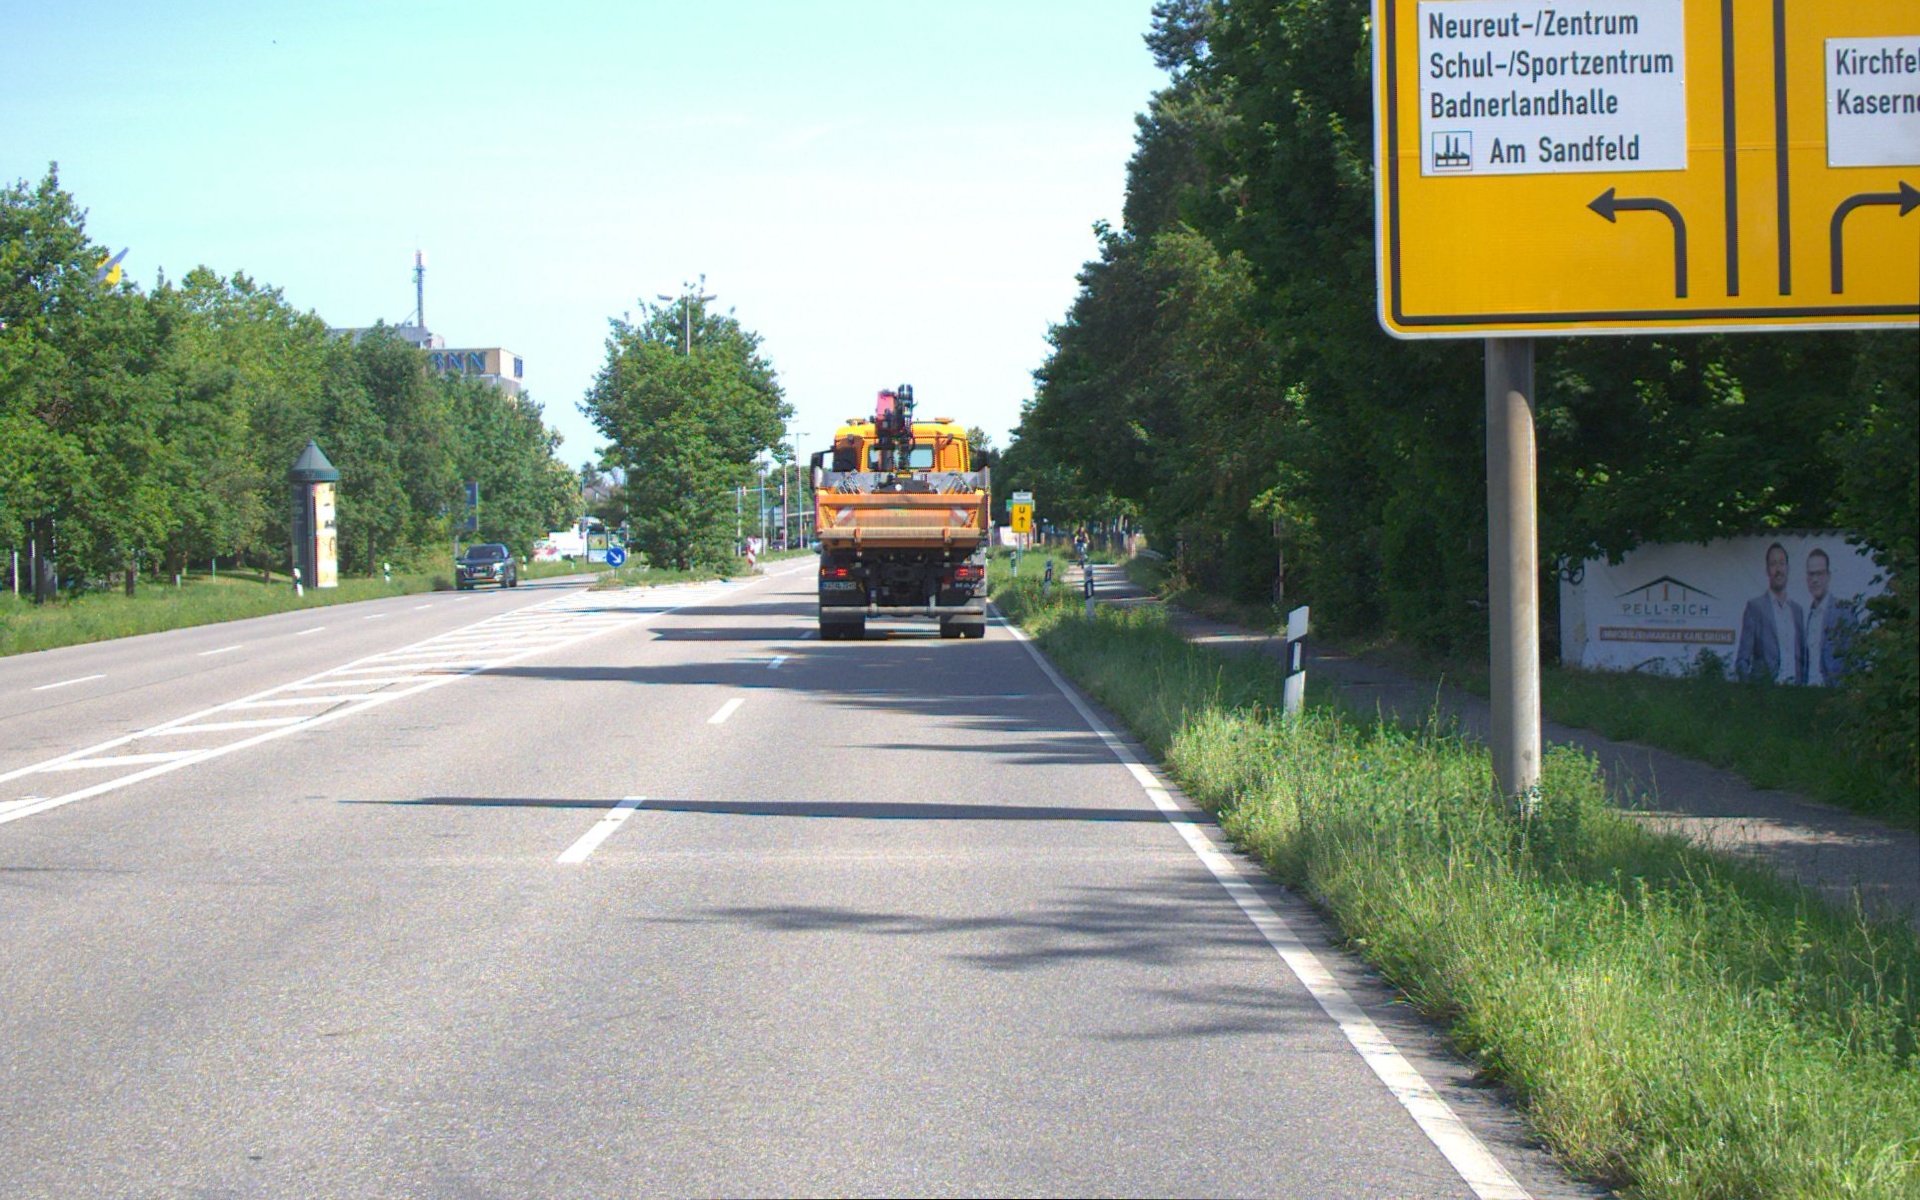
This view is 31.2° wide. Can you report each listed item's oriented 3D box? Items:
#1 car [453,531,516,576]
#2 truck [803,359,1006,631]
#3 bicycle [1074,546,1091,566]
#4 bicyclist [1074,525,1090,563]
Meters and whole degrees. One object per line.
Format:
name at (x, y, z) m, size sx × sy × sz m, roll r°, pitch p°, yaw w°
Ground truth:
car at (-17.603, -1.744, 127.377) m, size 1.800 × 1.566 × 4.000 m, roll -2°, pitch 1°, yaw -1°
truck at (-0.962, -1.594, 53.019) m, size 2.871 × 3.867 × 7.401 m, roll 1°, pitch 1°, yaw -3°
bicycle at (5.145, -1.845, 144.300) m, size 0.558 × 0.813 × 1.964 m, roll -2°, pitch 1°, yaw -1°
bicyclist at (5.115, -2.342, 144.250) m, size 0.558 × 1.552 × 0.557 m, roll -2°, pitch 1°, yaw -1°
